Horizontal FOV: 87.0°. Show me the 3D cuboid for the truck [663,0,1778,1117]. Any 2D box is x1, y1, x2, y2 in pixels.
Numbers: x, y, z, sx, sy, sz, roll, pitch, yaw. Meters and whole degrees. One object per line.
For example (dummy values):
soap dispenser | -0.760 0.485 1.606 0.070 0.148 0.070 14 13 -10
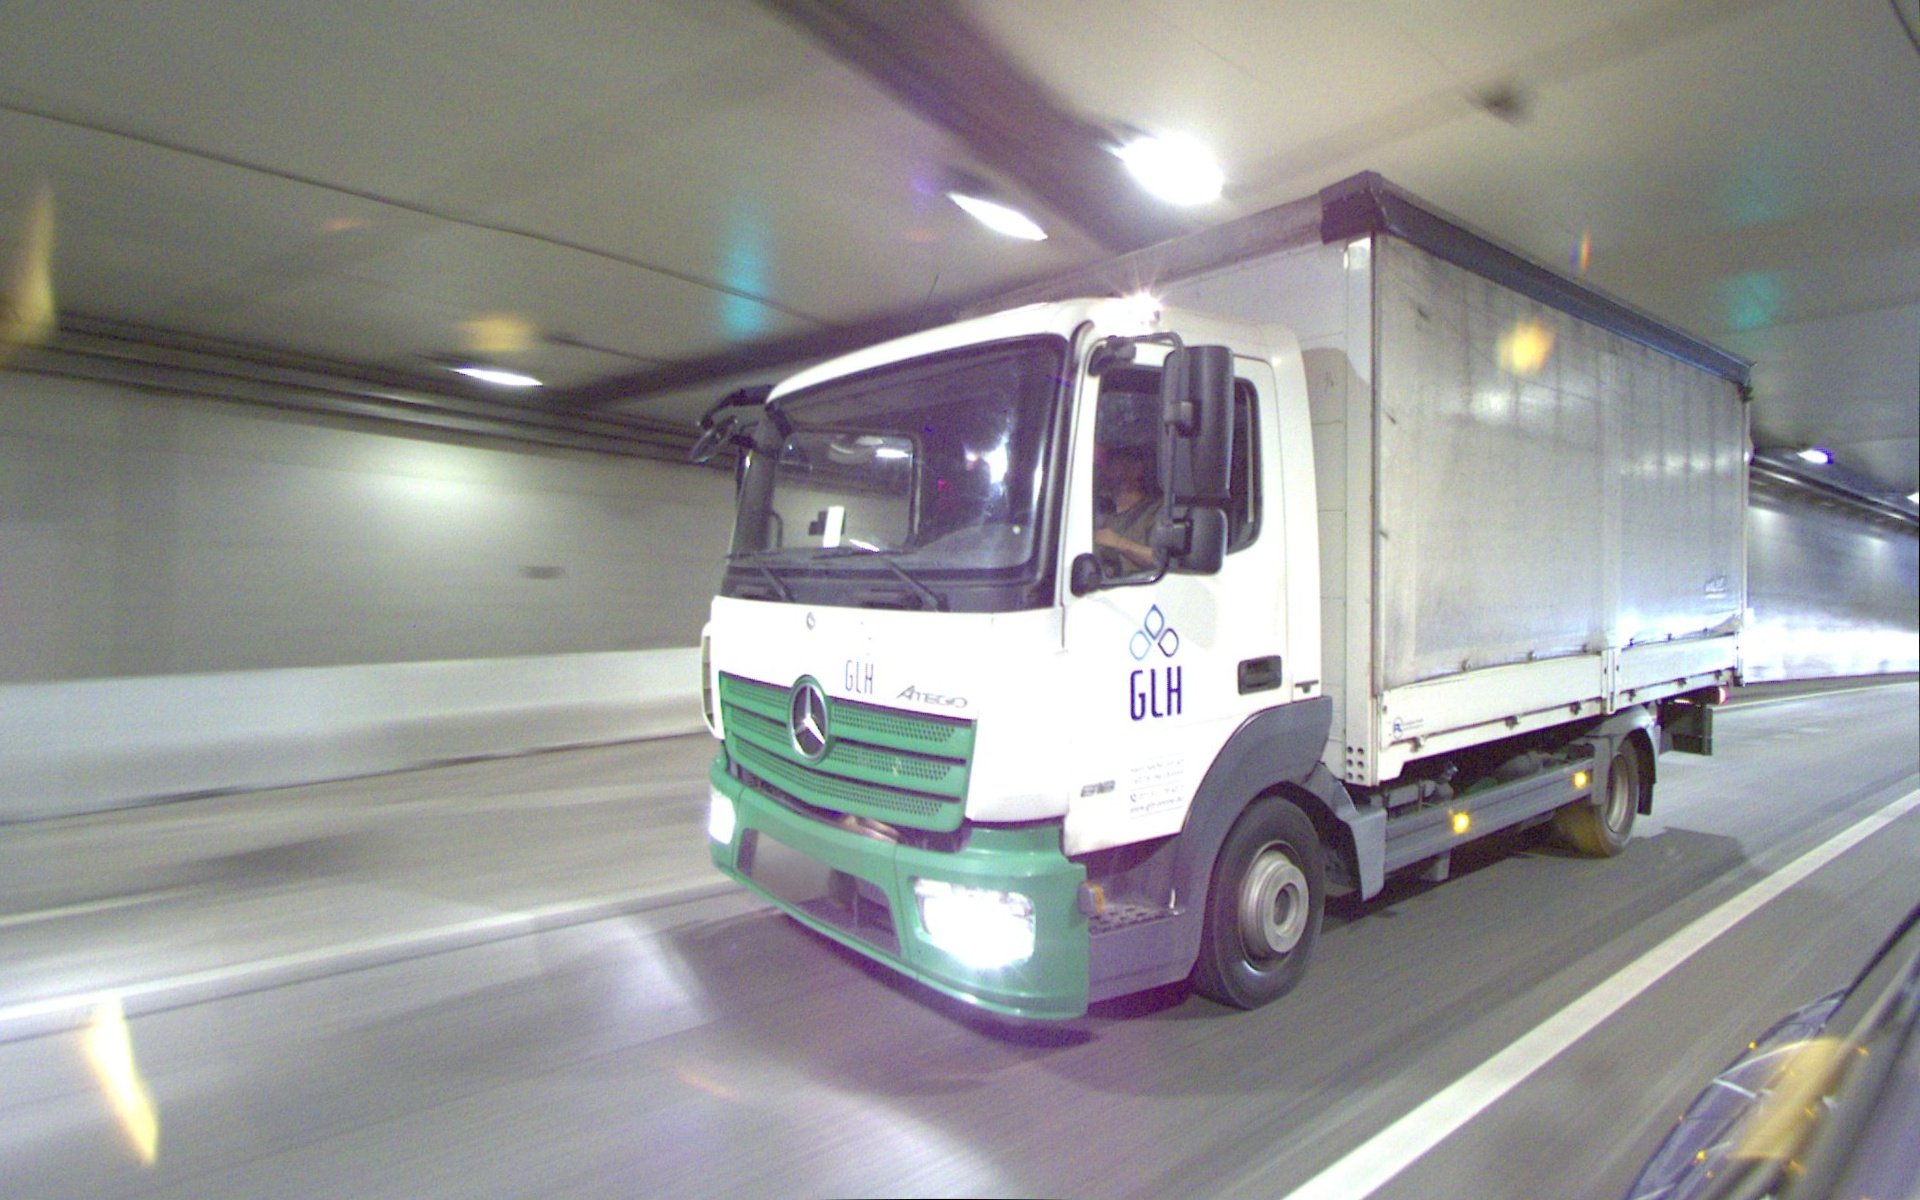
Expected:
truck | 2.214 -0.213 5.915 7.113 3.221 2.559 1 0 -39
